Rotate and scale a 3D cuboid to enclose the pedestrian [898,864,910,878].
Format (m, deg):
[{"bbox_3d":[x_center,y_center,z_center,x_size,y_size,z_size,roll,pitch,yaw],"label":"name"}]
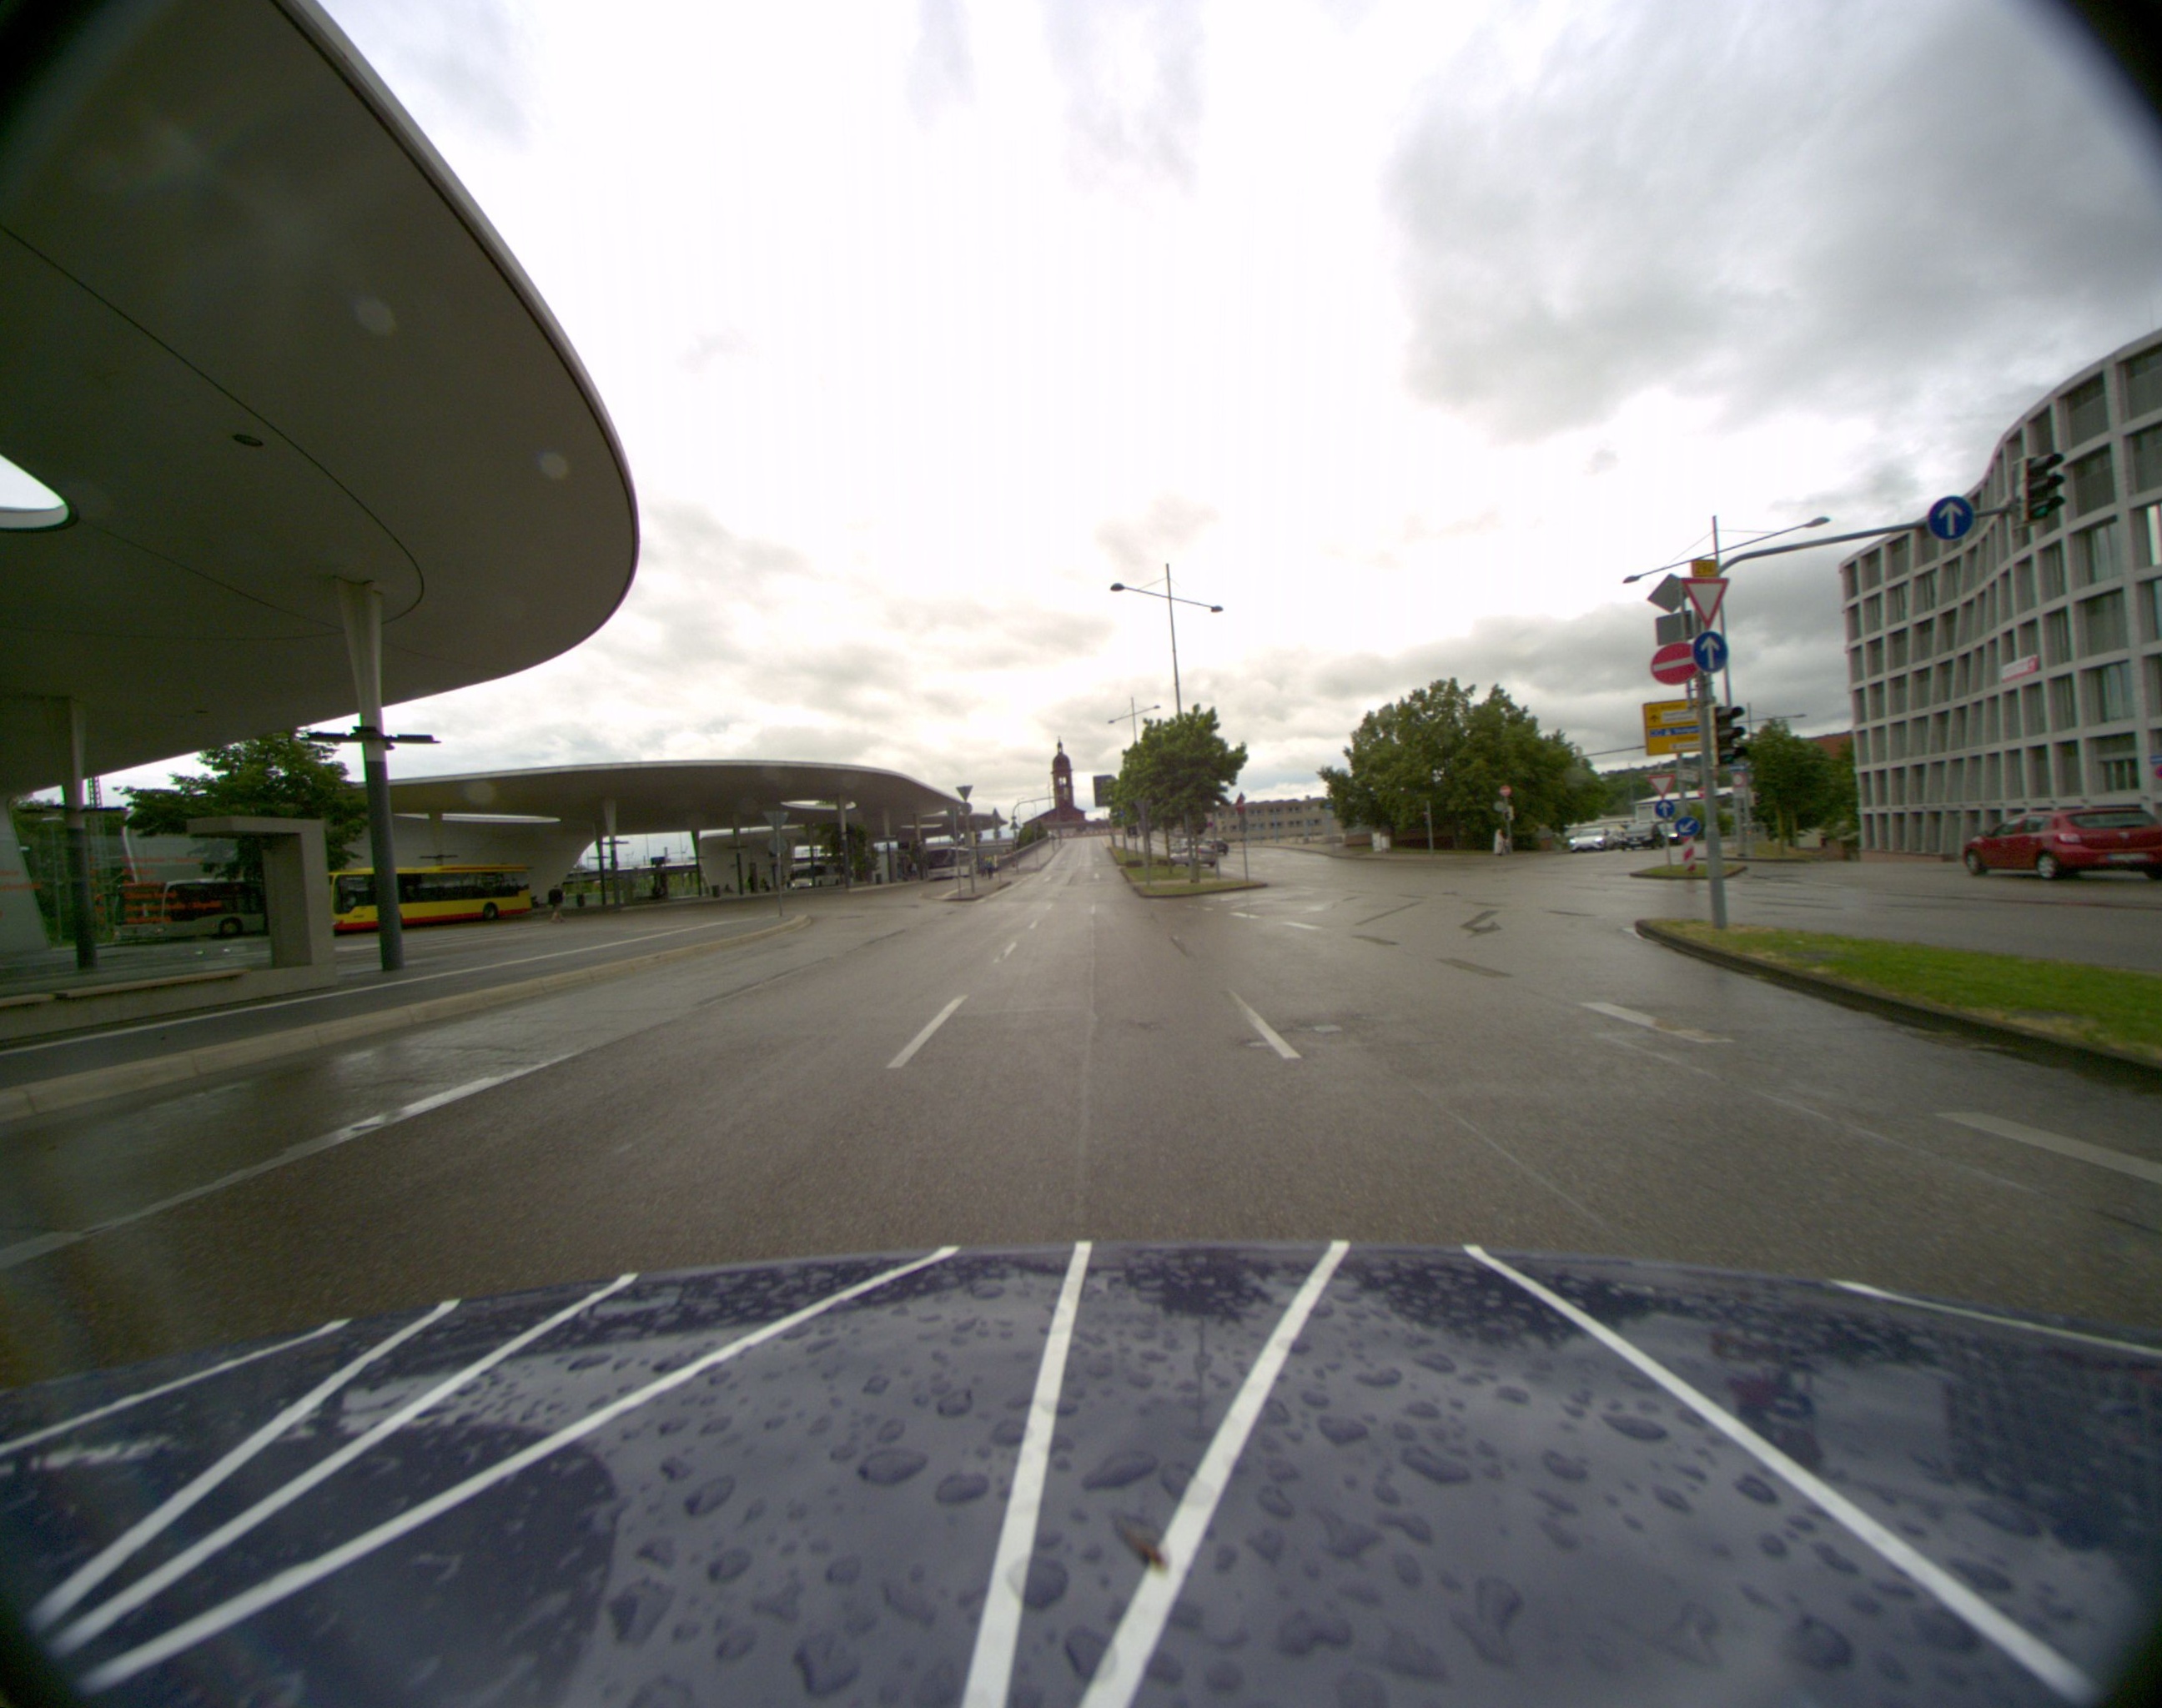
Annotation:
[{"bbox_3d":[-16.010,1.550,68.857,0.954,1.247,0.648,-1,-1,-22],"label":"pedestrian"}]

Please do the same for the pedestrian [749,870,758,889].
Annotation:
[{"bbox_3d":[-26.425,2.081,61.354,0.522,1.493,0.381,-4,1,-39],"label":"pedestrian"}]

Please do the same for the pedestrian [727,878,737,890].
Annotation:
[{"bbox_3d":[-45.743,3.941,99.616,0.800,1.318,0.711,-7,4,6],"label":"pedestrian"}]

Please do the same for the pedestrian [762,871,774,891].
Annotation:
[{"bbox_3d":[-26.124,2.235,63.424,0.590,1.581,0.677,-7,4,-3],"label":"pedestrian"}]

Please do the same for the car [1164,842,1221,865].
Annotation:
[{"bbox_3d":[7.539,0.002,51.688,1.639,1.440,3.866,-3,2,-32],"label":"car"}]

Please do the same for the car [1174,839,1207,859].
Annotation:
[{"bbox_3d":[9.757,-0.427,67.796,1.852,1.643,4.417,-4,1,-5],"label":"car"}]

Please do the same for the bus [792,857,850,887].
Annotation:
[{"bbox_3d":[-32.711,2.129,96.198,2.795,3.238,12.140,-4,1,1],"label":"bus"}]

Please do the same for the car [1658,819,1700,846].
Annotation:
[{"bbox_3d":[38.651,-1.416,49.078,1.723,1.559,3.845,-3,1,44],"label":"car"}]

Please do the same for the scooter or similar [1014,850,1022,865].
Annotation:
[{"bbox_3d":[-5.294,0.278,64.008,0.465,1.214,1.859,-4,1,1],"label":"scooter or similar"}]

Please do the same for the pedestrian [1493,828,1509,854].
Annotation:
[{"bbox_3d":[25.781,-0.819,46.645,0.652,1.561,0.631,-2,3,6],"label":"pedestrian"}]

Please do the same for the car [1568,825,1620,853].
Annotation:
[{"bbox_3d":[32.537,-0.967,48.115,4.149,1.559,1.883,-4,1,-44],"label":"car"}]

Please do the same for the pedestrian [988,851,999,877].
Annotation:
[{"bbox_3d":[-5.826,0.683,50.611,0.524,1.661,0.580,-5,4,1],"label":"pedestrian"}]

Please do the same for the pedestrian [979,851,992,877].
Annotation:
[{"bbox_3d":[-6.388,0.662,50.642,0.590,1.662,0.580,-6,5,1],"label":"pedestrian"}]

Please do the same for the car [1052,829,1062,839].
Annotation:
[{"bbox_3d":[-4.708,-3.993,151.344,1.852,1.643,4.418,-3,1,-1],"label":"car"}]

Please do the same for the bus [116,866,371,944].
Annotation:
[{"bbox_3d":[-43.960,2.472,40.615,2.521,3.380,9.856,-3,0,0],"label":"bus"}]

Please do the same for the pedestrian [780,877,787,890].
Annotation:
[{"bbox_3d":[-25.736,2.532,65.730,0.391,1.074,0.352,-2,1,43],"label":"pedestrian"}]

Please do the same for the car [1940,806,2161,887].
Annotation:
[{"bbox_3d":[21.746,-0.190,17.021,1.824,1.543,4.039,-3,0,25],"label":"car"}]

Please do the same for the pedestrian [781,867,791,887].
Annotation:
[{"bbox_3d":[-26.126,2.035,67.263,0.570,1.645,0.557,-3,1,7],"label":"pedestrian"}]

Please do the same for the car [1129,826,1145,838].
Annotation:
[{"bbox_3d":[8.880,-3.577,121.735,1.913,1.653,4.854,-4,3,-2],"label":"car"}]

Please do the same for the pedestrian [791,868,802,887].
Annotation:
[{"bbox_3d":[-25.616,2.121,68.372,0.644,1.645,0.638,-3,1,-39],"label":"pedestrian"}]

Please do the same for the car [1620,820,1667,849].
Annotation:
[{"bbox_3d":[33.411,-1.166,45.095,1.723,1.559,3.845,-3,1,44],"label":"car"}]

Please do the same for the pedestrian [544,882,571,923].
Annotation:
[{"bbox_3d":[-22.448,2.051,32.577,0.720,1.674,1.019,-2,1,-24],"label":"pedestrian"}]

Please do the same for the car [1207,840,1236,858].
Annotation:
[{"bbox_3d":[12.859,-0.458,69.923,1.851,1.495,4.920,-3,0,2],"label":"car"}]

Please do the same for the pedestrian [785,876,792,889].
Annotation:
[{"bbox_3d":[-25.351,2.490,65.918,0.395,1.138,0.364,-2,1,43],"label":"pedestrian"}]

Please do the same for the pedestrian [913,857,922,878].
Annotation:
[{"bbox_3d":[-14.843,1.246,68.858,0.585,1.875,0.649,-2,-1,11],"label":"pedestrian"}]

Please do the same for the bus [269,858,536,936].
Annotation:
[{"bbox_3d":[-33.931,1.920,39.202,2.795,3.238,12.141,-4,0,0],"label":"bus"}]

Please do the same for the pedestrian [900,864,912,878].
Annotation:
[{"bbox_3d":[-15.736,1.512,68.164,0.954,1.247,0.648,-1,-1,-22],"label":"pedestrian"}]

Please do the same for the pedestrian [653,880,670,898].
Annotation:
[{"bbox_3d":[-35.588,2.968,64.474,0.710,1.318,0.801,-6,4,9],"label":"pedestrian"}]

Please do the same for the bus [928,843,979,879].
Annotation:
[{"bbox_3d":[-12.851,0.663,77.763,2.852,3.342,12.426,-2,0,1],"label":"bus"}]
